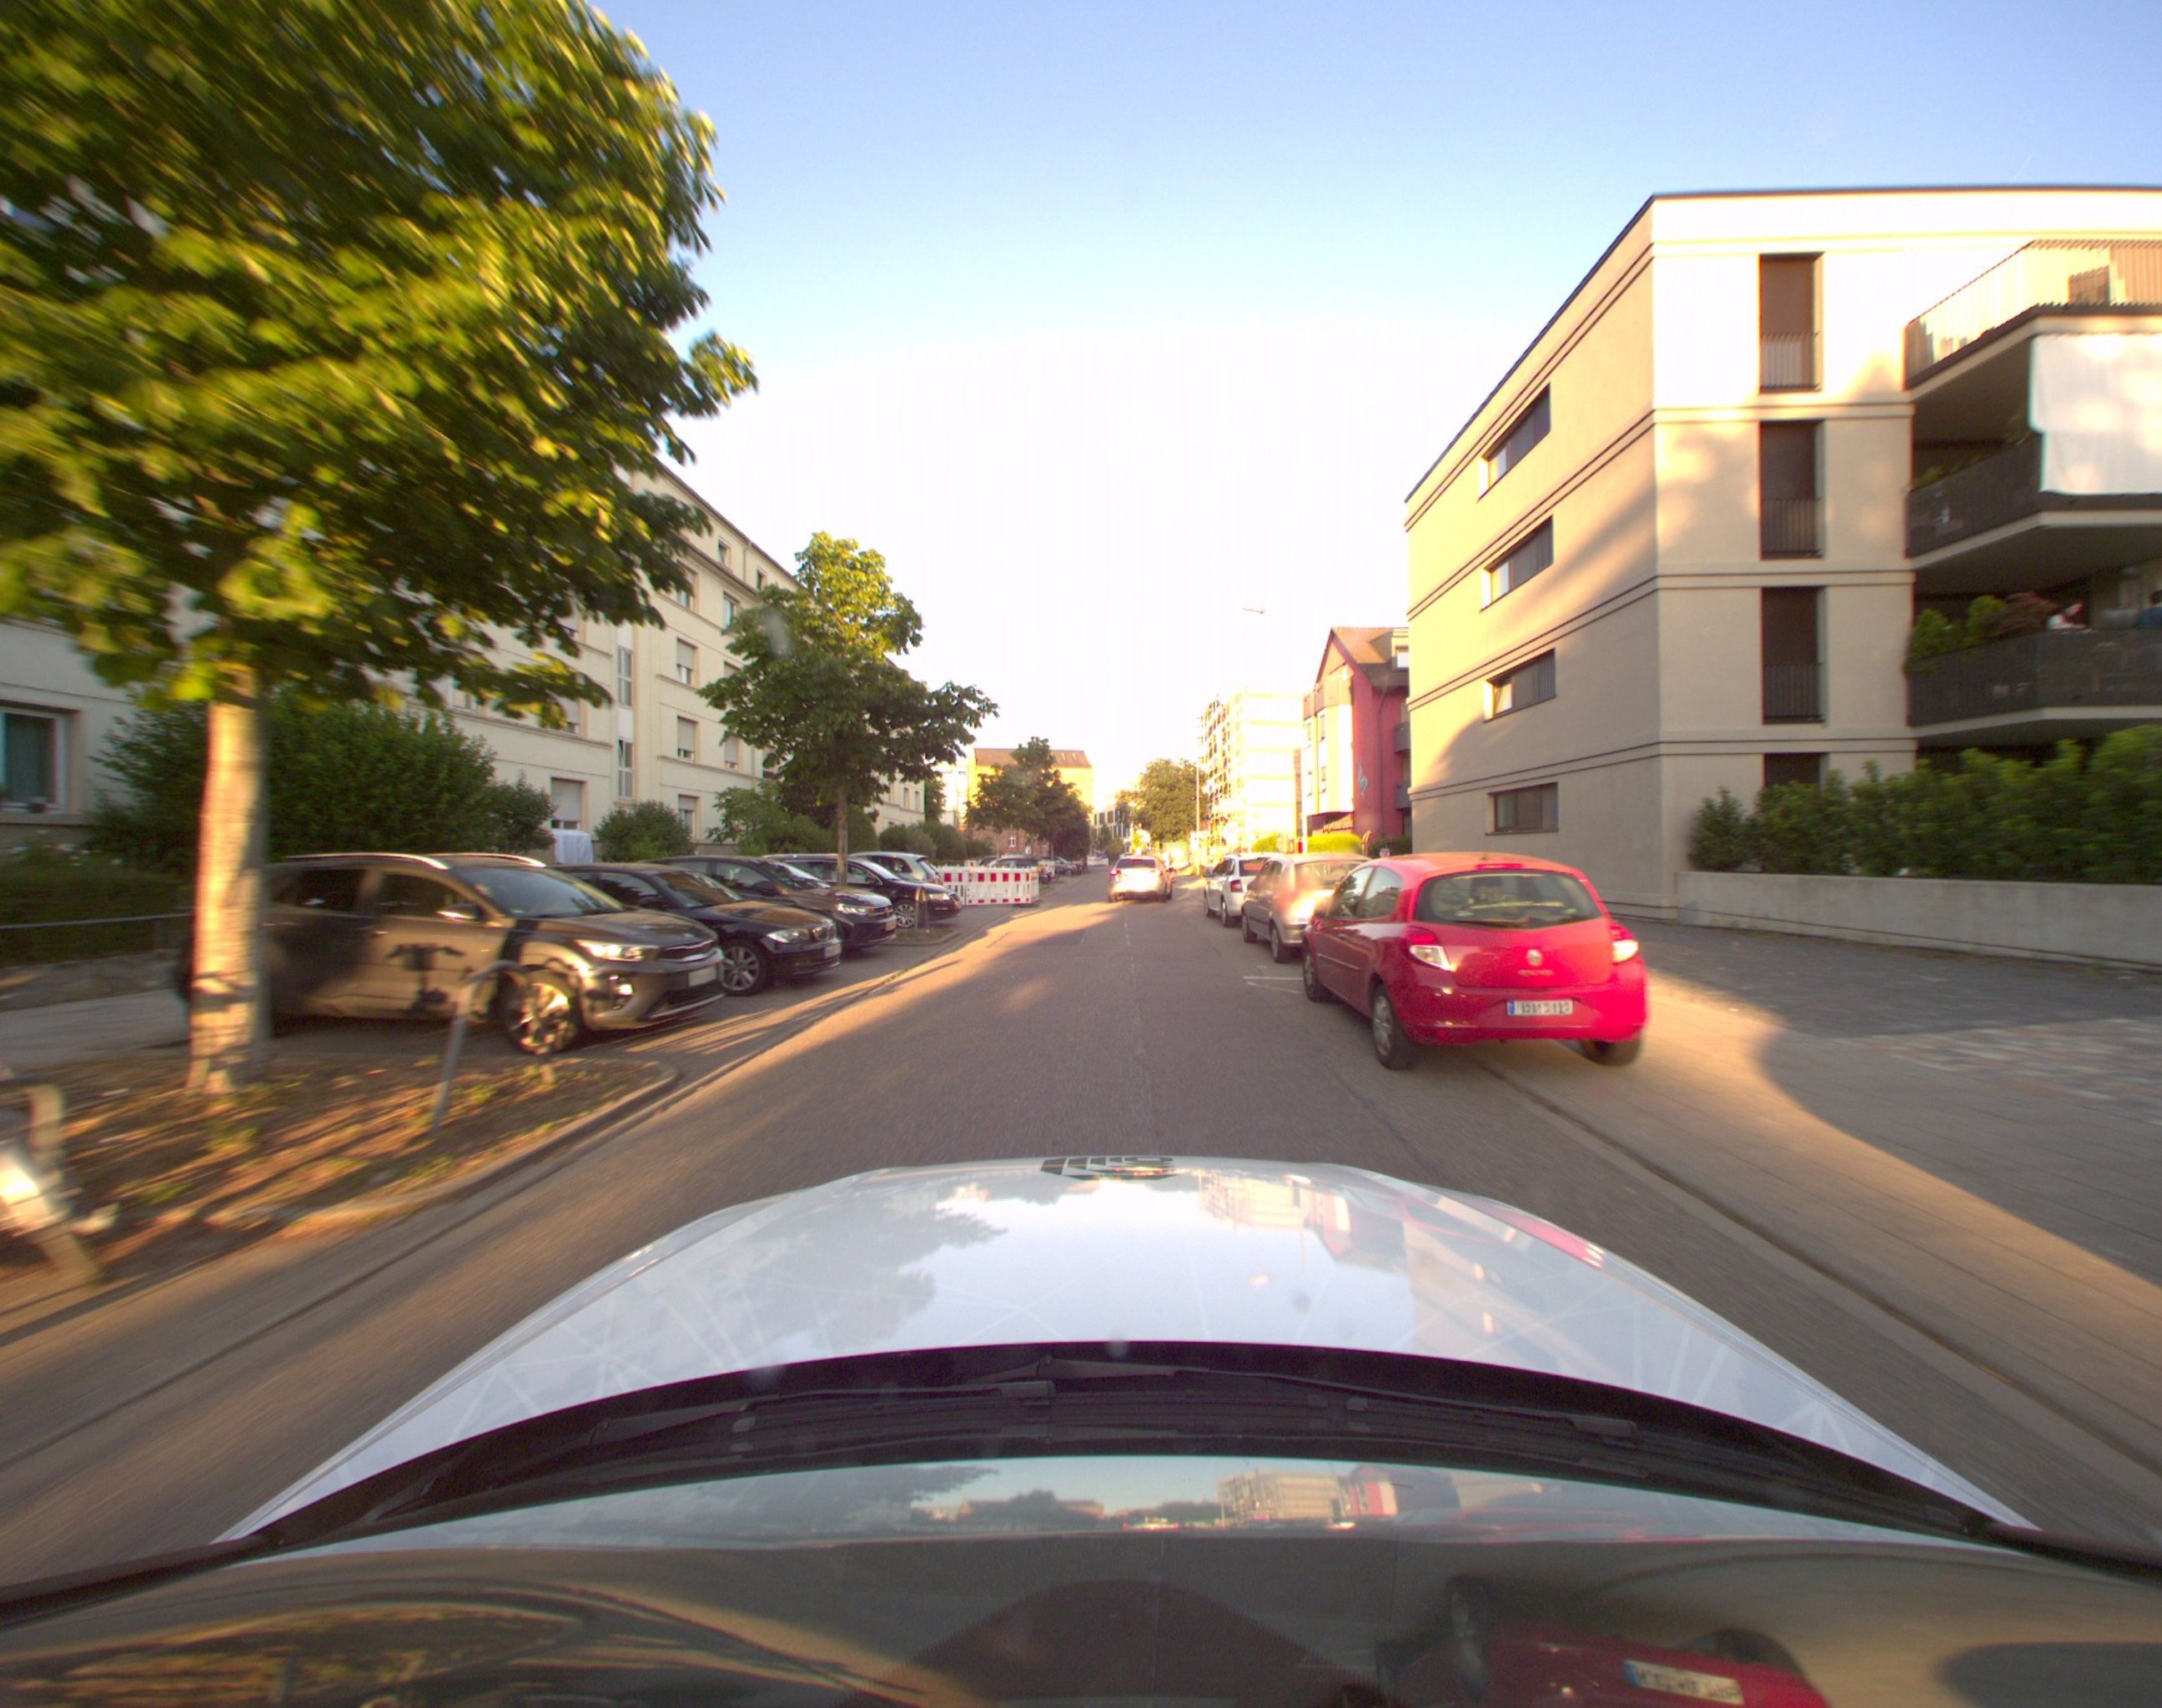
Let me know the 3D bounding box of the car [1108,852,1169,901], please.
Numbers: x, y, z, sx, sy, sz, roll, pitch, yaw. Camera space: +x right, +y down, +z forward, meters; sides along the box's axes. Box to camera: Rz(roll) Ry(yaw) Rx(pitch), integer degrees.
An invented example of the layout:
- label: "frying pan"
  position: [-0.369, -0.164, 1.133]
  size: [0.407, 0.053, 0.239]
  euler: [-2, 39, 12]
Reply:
- label: "car"
  position: [1.799, 0.664, 25.789]
  size: [1.768, 1.397, 4.111]
  euler: [-1, 0, 3]

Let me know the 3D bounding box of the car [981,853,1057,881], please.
- label: "car"
  position: [-3.375, 0.738, 45.012]
  size: [3.959, 1.489, 1.730]
  euler: [0, -1, 4]

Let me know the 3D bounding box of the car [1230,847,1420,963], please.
- label: "car"
  position: [3.490, 0.663, 12.396]
  size: [1.791, 1.469, 3.844]
  euler: [-1, 0, 1]

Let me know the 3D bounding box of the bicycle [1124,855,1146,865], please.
- label: "bicycle"
  position: [7.099, 0.760, 106.980]
  size: [2.720, 1.218, 0.709]
  euler: [-1, 0, -6]

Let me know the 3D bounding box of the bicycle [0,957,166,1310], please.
- label: "bicycle"
  position: [-3.769, 0.944, 2.314]
  size: [0.445, 1.096, 1.630]
  euler: [0, 0, 2]

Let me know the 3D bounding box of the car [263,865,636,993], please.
- label: "car"
  position: [-7.945, 0.889, 10.482]
  size: [3.428, 1.443, 1.763]
  euler: [1, 0, 3]

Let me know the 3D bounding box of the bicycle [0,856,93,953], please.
- label: "bicycle"
  position: [-15.180, 0.707, 11.443]
  size: [1.887, 1.318, 0.442]
  euler: [-1, 0, -5]

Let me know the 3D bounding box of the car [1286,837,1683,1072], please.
- label: "car"
  position: [3.017, 0.642, 7.037]
  size: [1.733, 1.469, 3.762]
  euler: [-1, 0, 3]

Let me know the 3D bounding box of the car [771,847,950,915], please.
- label: "car"
  position: [-5.154, 0.611, 19.299]
  size: [3.683, 1.484, 1.730]
  euler: [1, 0, 4]

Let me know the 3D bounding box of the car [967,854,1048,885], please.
- label: "car"
  position: [-3.526, 0.742, 39.566]
  size: [3.660, 1.445, 1.730]
  euler: [0, -1, 4]

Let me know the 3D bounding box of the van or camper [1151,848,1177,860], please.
- label: "van or camper"
  position: [16.427, -0.006, 161.059]
  size: [4.977, 2.240, 1.676]
  euler: [0, 0, -19]

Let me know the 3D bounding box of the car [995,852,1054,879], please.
- label: "car"
  position: [-3.383, 0.692, 49.474]
  size: [3.464, 1.566, 1.727]
  euler: [0, -1, -1]

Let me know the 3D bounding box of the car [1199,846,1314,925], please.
- label: "car"
  position: [3.595, 0.599, 17.354]
  size: [1.609, 1.469, 3.996]
  euler: [-1, 0, 0]

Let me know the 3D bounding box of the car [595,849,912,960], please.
- label: "car"
  position: [-4.770, 0.694, 12.221]
  size: [4.013, 1.484, 1.730]
  euler: [1, 0, 4]

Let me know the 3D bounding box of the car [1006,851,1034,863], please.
- label: "car"
  position: [-8.552, 0.402, 113.680]
  size: [3.636, 1.503, 1.629]
  euler: [-1, 0, -14]

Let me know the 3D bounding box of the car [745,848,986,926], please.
- label: "car"
  position: [-4.396, 0.651, 17.001]
  size: [4.487, 1.484, 1.730]
  euler: [1, 0, 4]

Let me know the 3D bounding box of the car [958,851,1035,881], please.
- label: "car"
  position: [-4.323, 0.640, 41.995]
  size: [3.660, 1.484, 1.730]
  euler: [0, -1, 4]

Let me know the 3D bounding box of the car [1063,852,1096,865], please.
- label: "car"
  position: [-0.235, 0.622, 115.705]
  size: [4.279, 1.708, 1.693]
  euler: [-1, 0, -17]

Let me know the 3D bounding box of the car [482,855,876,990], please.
- label: "car"
  position: [-4.576, 0.732, 9.602]
  size: [3.824, 1.384, 1.609]
  euler: [1, 0, 4]

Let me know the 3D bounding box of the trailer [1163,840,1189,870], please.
- label: "trailer"
  position: [8.409, 0.096, 72.253]
  size: [1.985, 2.540, 4.190]
  euler: [-1, 0, 3]

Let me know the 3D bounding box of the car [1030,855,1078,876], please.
- label: "car"
  position: [-2.054, 0.878, 63.060]
  size: [3.609, 1.557, 1.694]
  euler: [0, 0, 2]

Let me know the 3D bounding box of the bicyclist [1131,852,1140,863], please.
- label: "bicyclist"
  position: [7.216, 0.464, 106.999]
  size: [1.059, 1.458, 0.790]
  euler: [-1, 0, -5]
